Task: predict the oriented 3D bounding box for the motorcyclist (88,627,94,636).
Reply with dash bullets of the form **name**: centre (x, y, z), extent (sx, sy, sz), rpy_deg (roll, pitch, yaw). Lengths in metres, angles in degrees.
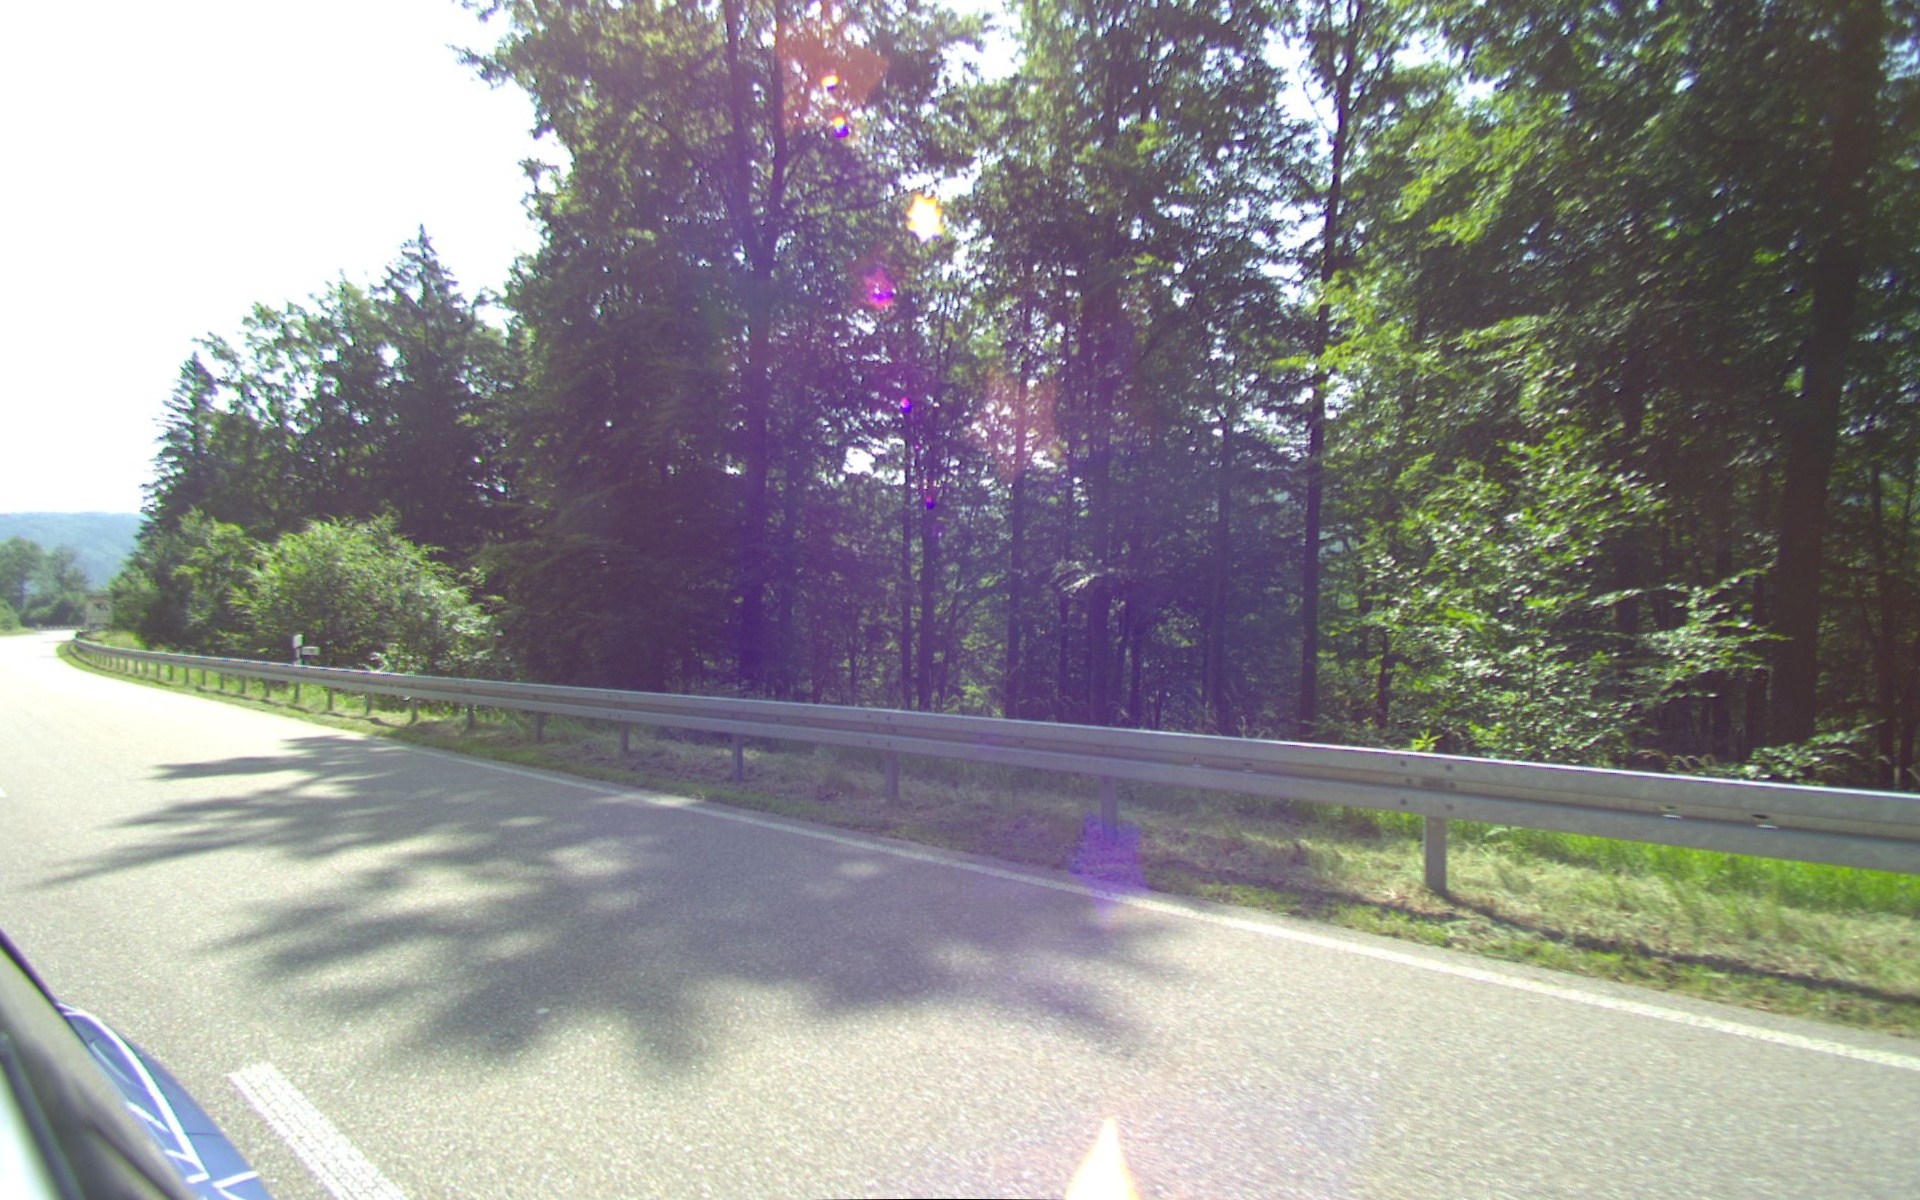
- **motorcyclist**: centre (-144.222, 5.257, 167.904), extent (0.649, 1.525, 0.936), rpy_deg (1, -2, -37)
